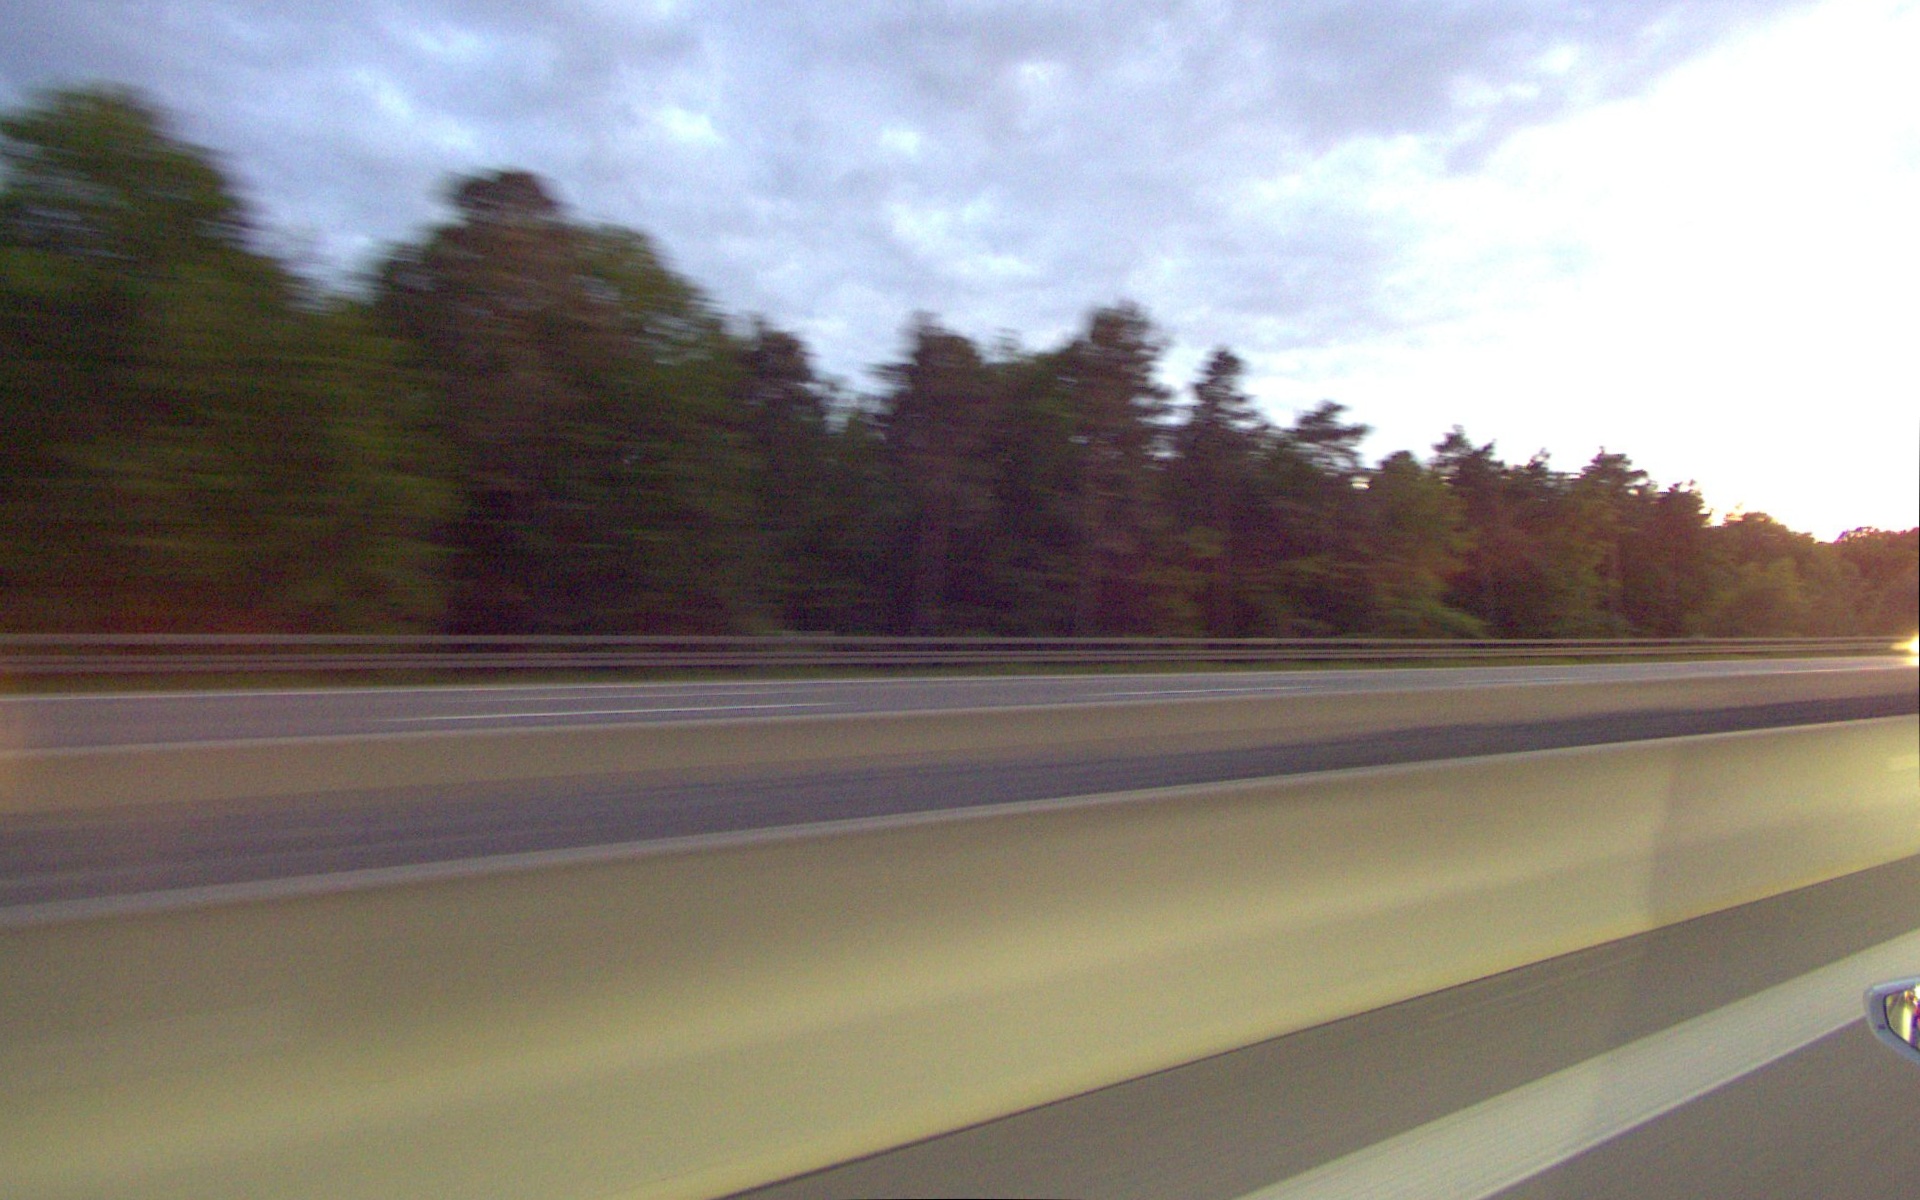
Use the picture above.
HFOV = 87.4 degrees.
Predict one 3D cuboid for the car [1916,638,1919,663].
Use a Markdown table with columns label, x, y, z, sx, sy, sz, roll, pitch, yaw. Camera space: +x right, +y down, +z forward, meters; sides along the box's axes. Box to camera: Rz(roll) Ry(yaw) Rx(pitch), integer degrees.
| label | x | y | z | sx | sy | sz | roll | pitch | yaw |
| --- | --- | --- | --- | --- | --- | --- | --- | --- | --- |
| car | 57.107 | 2.935 | 57.853 | 3.950 | 1.457 | 1.829 | 1 | -1 | -28 |
